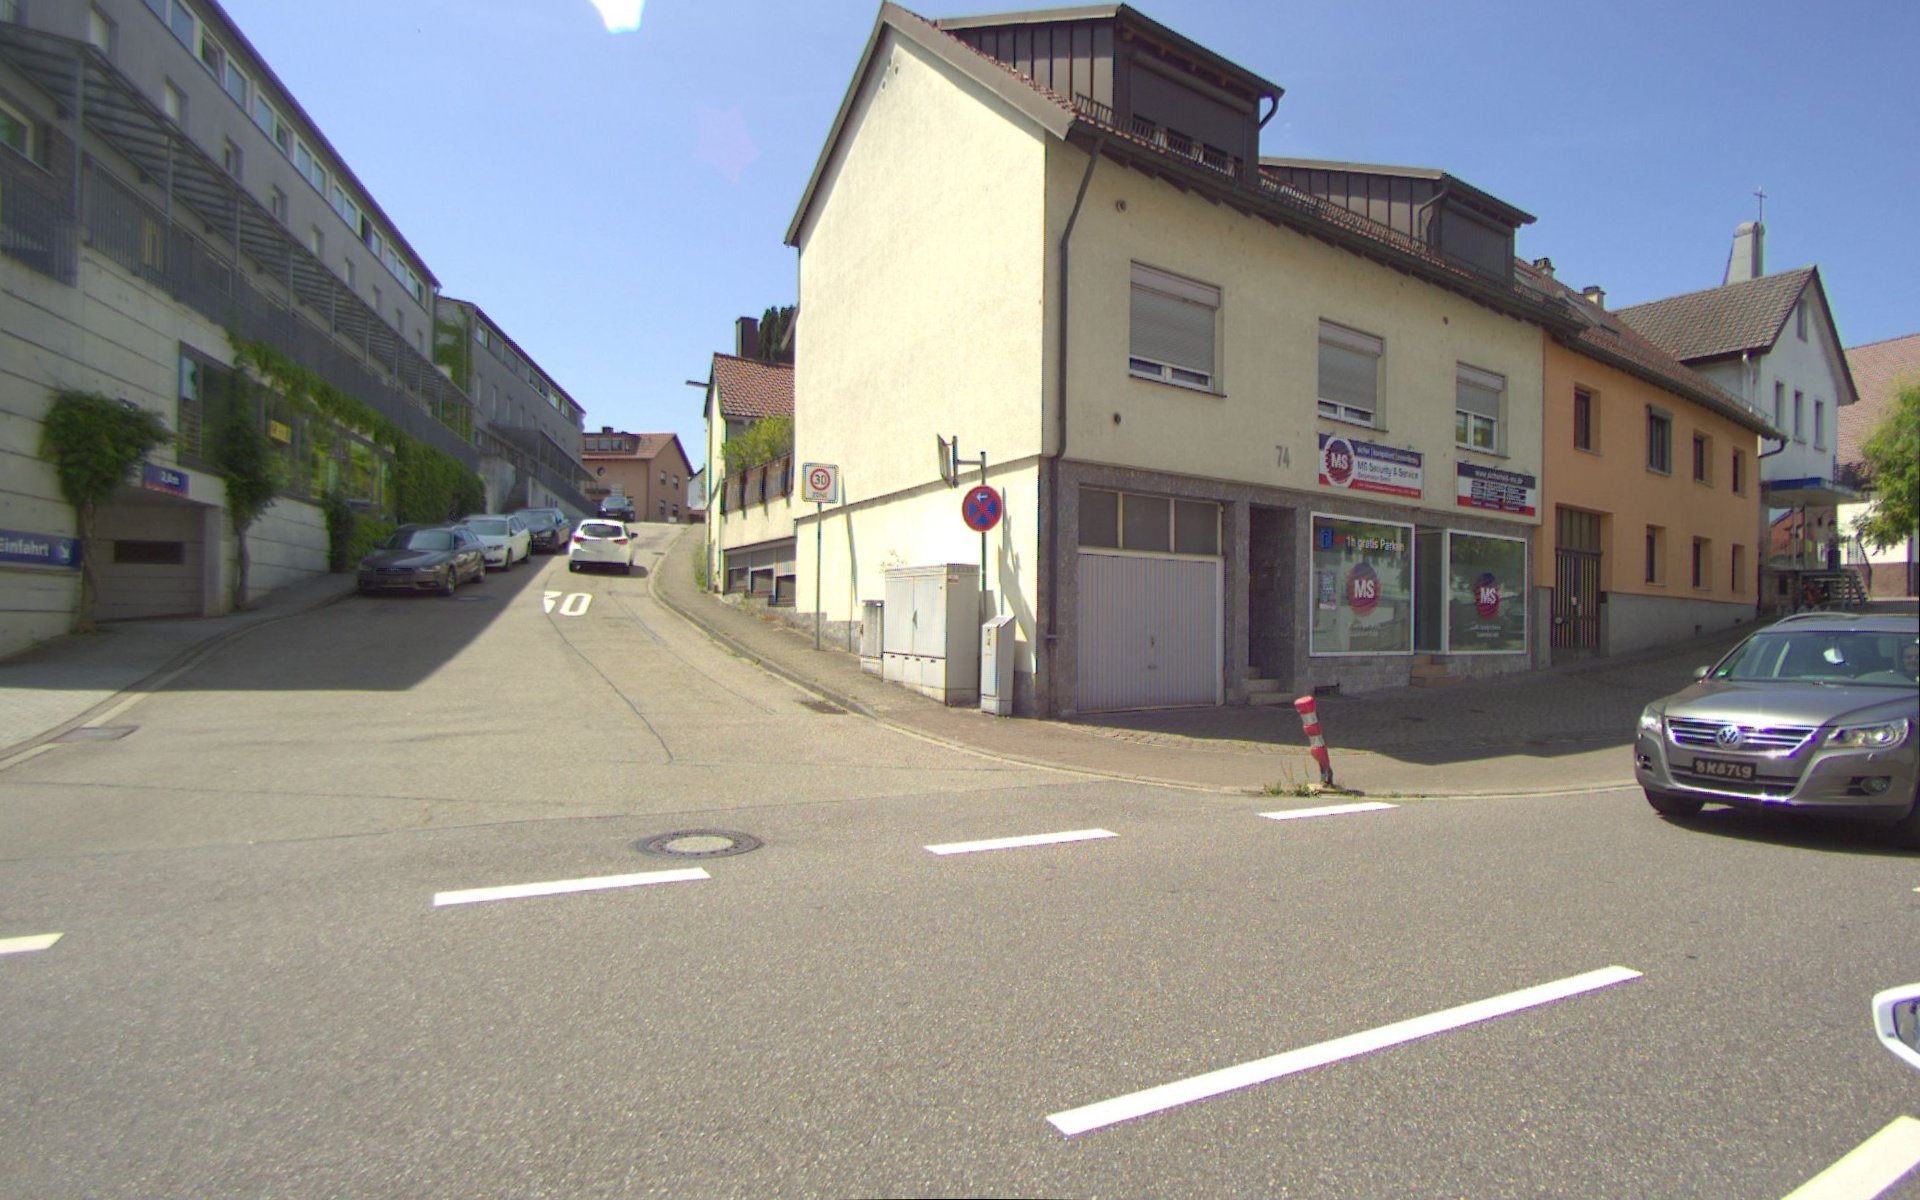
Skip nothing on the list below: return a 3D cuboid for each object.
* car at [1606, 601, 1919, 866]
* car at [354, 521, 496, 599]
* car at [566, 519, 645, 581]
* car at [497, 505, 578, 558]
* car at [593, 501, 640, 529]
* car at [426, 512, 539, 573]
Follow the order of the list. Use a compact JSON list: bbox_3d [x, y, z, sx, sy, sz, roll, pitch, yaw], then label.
[{"bbox_3d":[7.218,0.895,8.047,3.999,1.657,1.751,1,-2,-28],"label":"car"},{"bbox_3d":[-12.119,-0.998,23.065,1.728,1.441,4.492,1,6,-13],"label":"car"},{"bbox_3d":[-10.534,-1.551,30.065,1.783,1.487,3.987,3,6,-14],"label":"car"},{"bbox_3d":[-14.698,-2.450,35.167,1.857,1.582,4.492,1,6,-13],"label":"car"},{"bbox_3d":[-20.048,-5.024,58.795,1.965,1.441,4.494,1,6,-11],"label":"car"},{"bbox_3d":[-13.510,-1.702,28.719,1.966,1.441,4.492,1,6,-13],"label":"car"}]
